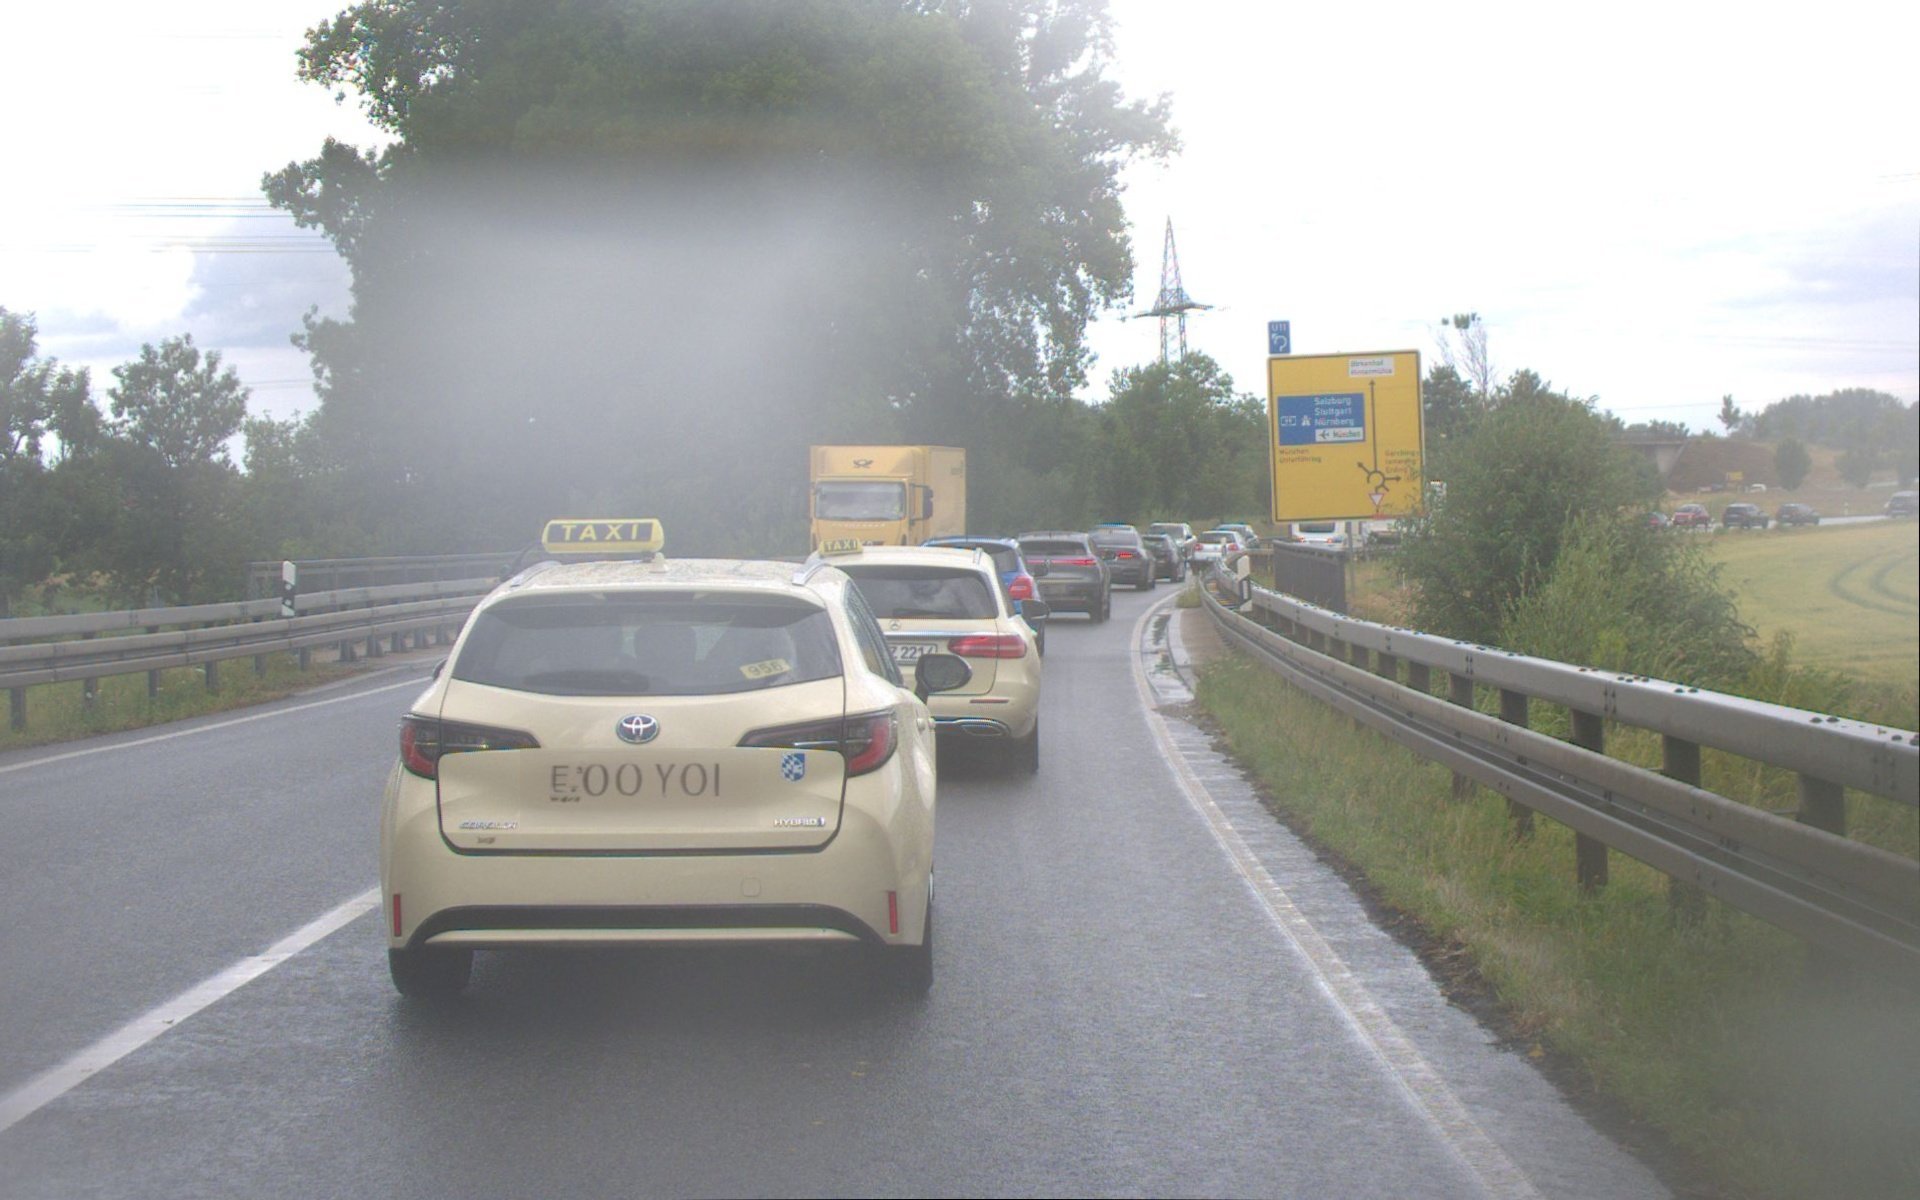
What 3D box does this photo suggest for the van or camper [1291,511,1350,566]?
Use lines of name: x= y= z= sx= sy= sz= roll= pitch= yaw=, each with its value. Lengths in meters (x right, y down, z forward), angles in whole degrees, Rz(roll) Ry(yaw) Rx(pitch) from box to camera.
van or camper: x=14.917 y=-2.522 z=142.004 sx=1.994 sy=2.246 sz=3.998 roll=0 pitch=1 yaw=12

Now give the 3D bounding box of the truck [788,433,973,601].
truck: x=-1.634 y=-1.777 z=75.691 sx=2.771 sy=3.417 sz=9.185 roll=1 pitch=1 yaw=7

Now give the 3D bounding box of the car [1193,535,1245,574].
car: x=8.838 y=-1.568 z=116.971 sx=1.483 sy=1.304 sz=3.475 roll=0 pitch=1 yaw=9

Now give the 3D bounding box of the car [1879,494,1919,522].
car: x=69.292 y=-6.772 z=252.642 sx=2.145 sy=2.007 sz=3.992 roll=1 pitch=1 yaw=35

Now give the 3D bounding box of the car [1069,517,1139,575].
car: x=3.613 y=-1.326 z=85.589 sx=1.660 sy=1.404 sz=3.904 roll=0 pitch=0 yaw=4

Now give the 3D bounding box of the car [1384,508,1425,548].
car: x=20.907 y=-3.358 z=161.600 sx=1.732 sy=1.813 sz=3.998 roll=0 pitch=1 yaw=10

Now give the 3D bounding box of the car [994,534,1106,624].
car: x=1.531 y=-0.366 z=57.421 sx=1.665 sy=1.459 sz=3.476 roll=0 pitch=1 yaw=5

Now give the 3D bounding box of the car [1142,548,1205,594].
car: x=6.191 y=-0.845 z=99.542 sx=1.483 sy=1.304 sz=3.475 roll=0 pitch=1 yaw=9

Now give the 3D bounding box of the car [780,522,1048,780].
car: x=-0.235 y=0.280 z=22.823 sx=1.578 sy=1.567 sz=3.681 roll=0 pitch=1 yaw=2

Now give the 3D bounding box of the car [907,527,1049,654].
car: x=0.248 y=-0.136 z=40.985 sx=1.506 sy=1.432 sz=3.355 roll=0 pitch=1 yaw=3

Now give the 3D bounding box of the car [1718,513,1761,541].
car: x=51.605 y=-4.827 z=227.441 sx=1.821 sy=1.831 sz=3.983 roll=1 pitch=1 yaw=28

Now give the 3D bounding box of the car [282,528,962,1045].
car: x=-1.007 y=0.518 z=12.292 sx=1.906 sy=1.532 sz=4.161 roll=0 pitch=1 yaw=2
